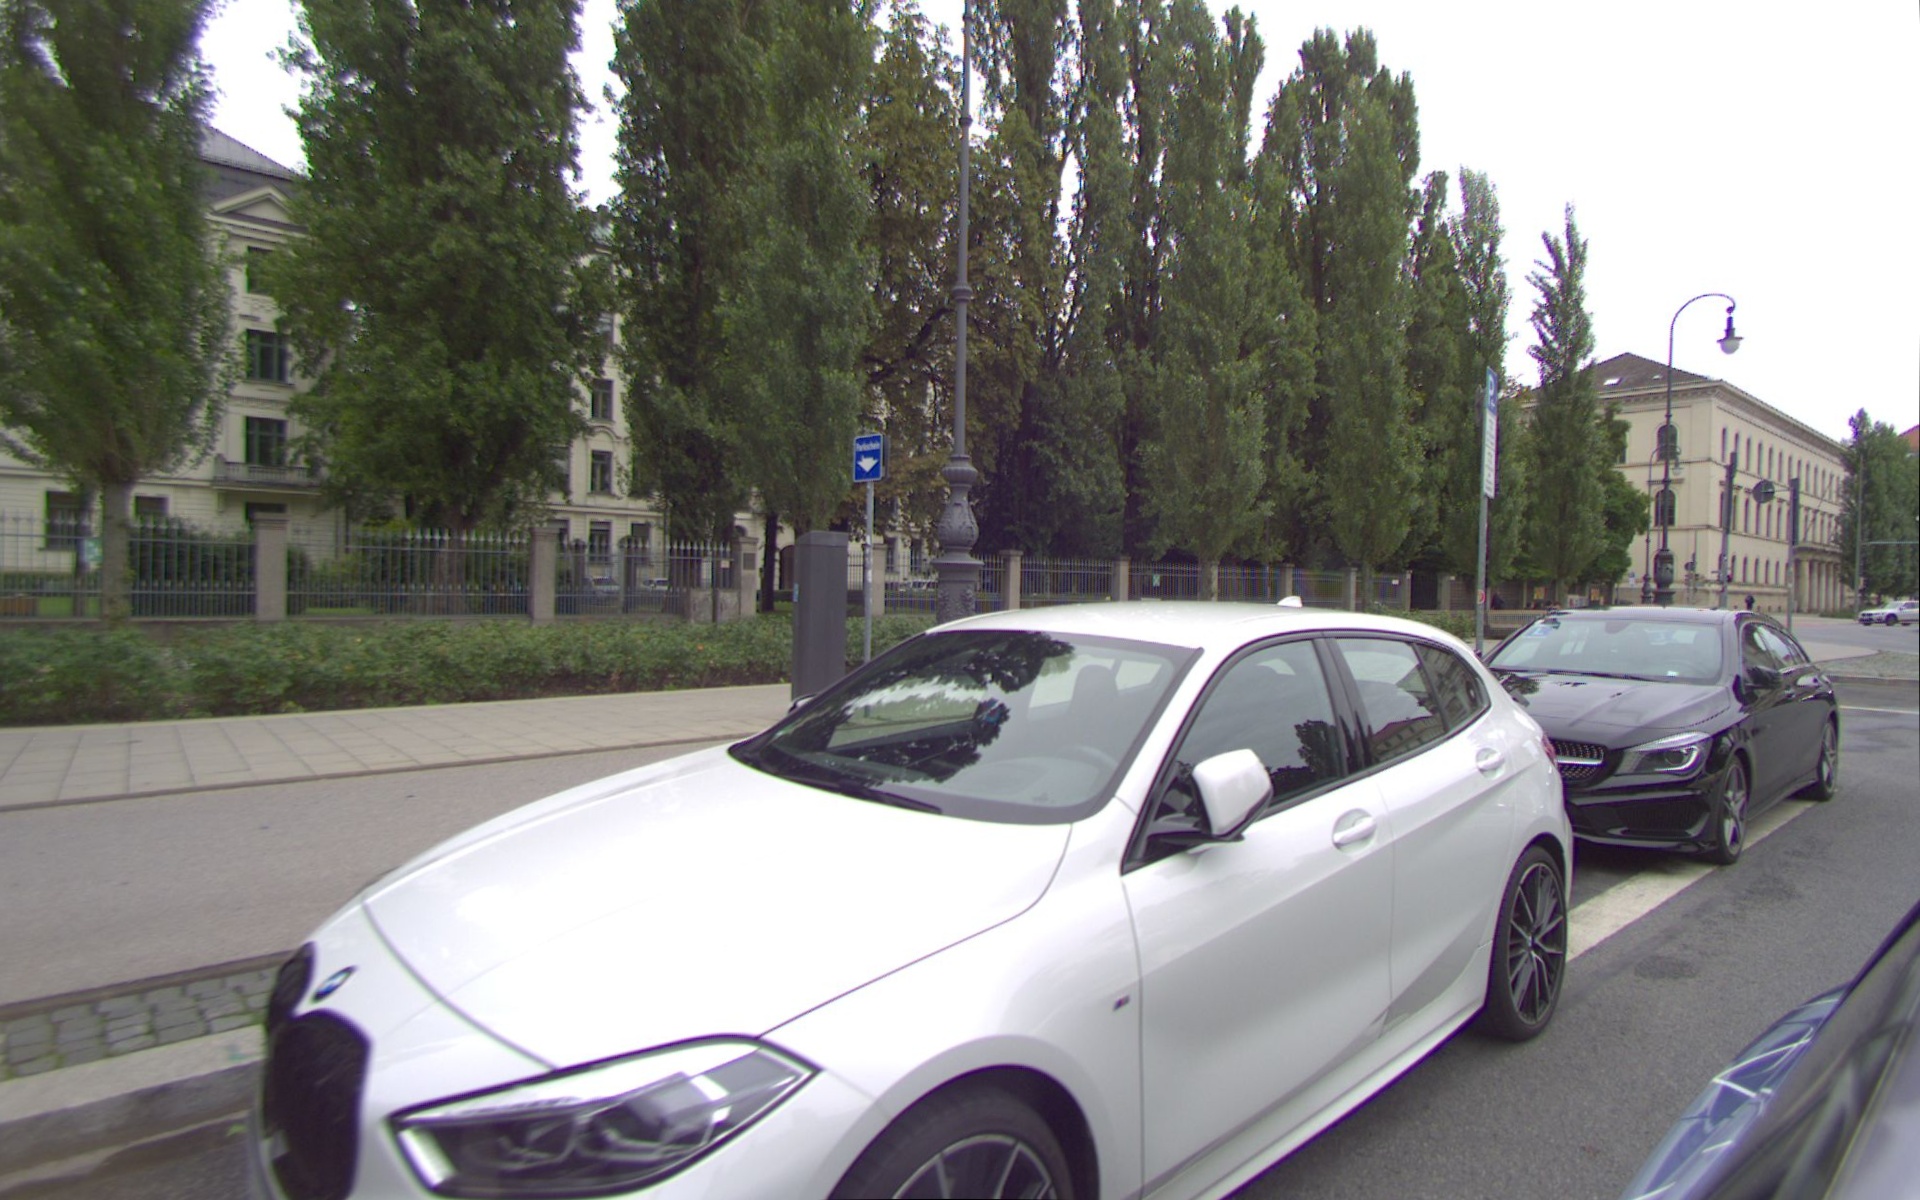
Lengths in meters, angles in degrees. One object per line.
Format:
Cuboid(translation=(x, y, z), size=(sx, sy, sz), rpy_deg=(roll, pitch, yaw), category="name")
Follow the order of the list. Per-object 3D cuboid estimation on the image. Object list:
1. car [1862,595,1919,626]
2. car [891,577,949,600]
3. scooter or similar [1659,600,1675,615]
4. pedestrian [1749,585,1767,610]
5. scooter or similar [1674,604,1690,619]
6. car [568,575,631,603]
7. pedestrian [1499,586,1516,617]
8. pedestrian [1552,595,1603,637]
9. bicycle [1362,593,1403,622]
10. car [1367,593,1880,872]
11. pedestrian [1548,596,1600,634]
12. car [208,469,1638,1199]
Cuboid(translation=(60.441, 0.692, 64.425), size=(4.233, 1.880, 1.890), rpy_deg=(1, 0, 3), category="car")
Cuboid(translation=(-2.883, -0.797, 72.047), size=(1.962, 1.594, 4.470), rpy_deg=(0, 0, -35), category="car")
Cuboid(translation=(56.261, 0.564, 80.509), size=(1.626, 1.155, 0.567), rpy_deg=(1, 1, -38), category="scooter or similar")
Cuboid(translation=(67.089, -0.190, 85.098), size=(0.985, 2.039, 0.944), rpy_deg=(1, 1, -39), category="pedestrian")
Cuboid(translation=(56.899, 0.933, 79.763), size=(1.626, 1.155, 0.567), rpy_deg=(1, 1, -38), category="scooter or similar")
Cuboid(translation=(-20.310, -0.623, 56.954), size=(1.964, 1.458, 4.526), rpy_deg=(1, 1, -38), category="car")
Cuboid(translation=(28.615, 0.069, 52.893), size=(0.527, 1.640, 0.590), rpy_deg=(0, 0, -39), category="pedestrian")
Cuboid(translation=(19.715, 0.500, 32.344), size=(1.317, 1.291, 0.800), rpy_deg=(0, 0, 28), category="pedestrian")
Cuboid(translation=(19.225, 0.343, 46.033), size=(0.672, 1.255, 2.952), rpy_deg=(3, 2, 44), category="bicycle")
Cuboid(translation=(4.753, 0.655, 6.993), size=(4.291, 1.326, 1.739), rpy_deg=(0, 1, -39), category="car")
Cuboid(translation=(20.252, 0.479, 33.404), size=(1.354, 1.222, 0.802), rpy_deg=(0, 0, 22), category="pedestrian")
Cuboid(translation=(0.349, 0.601, 3.082), size=(4.142, 1.478, 1.791), rpy_deg=(0, 0, -40), category="car")
